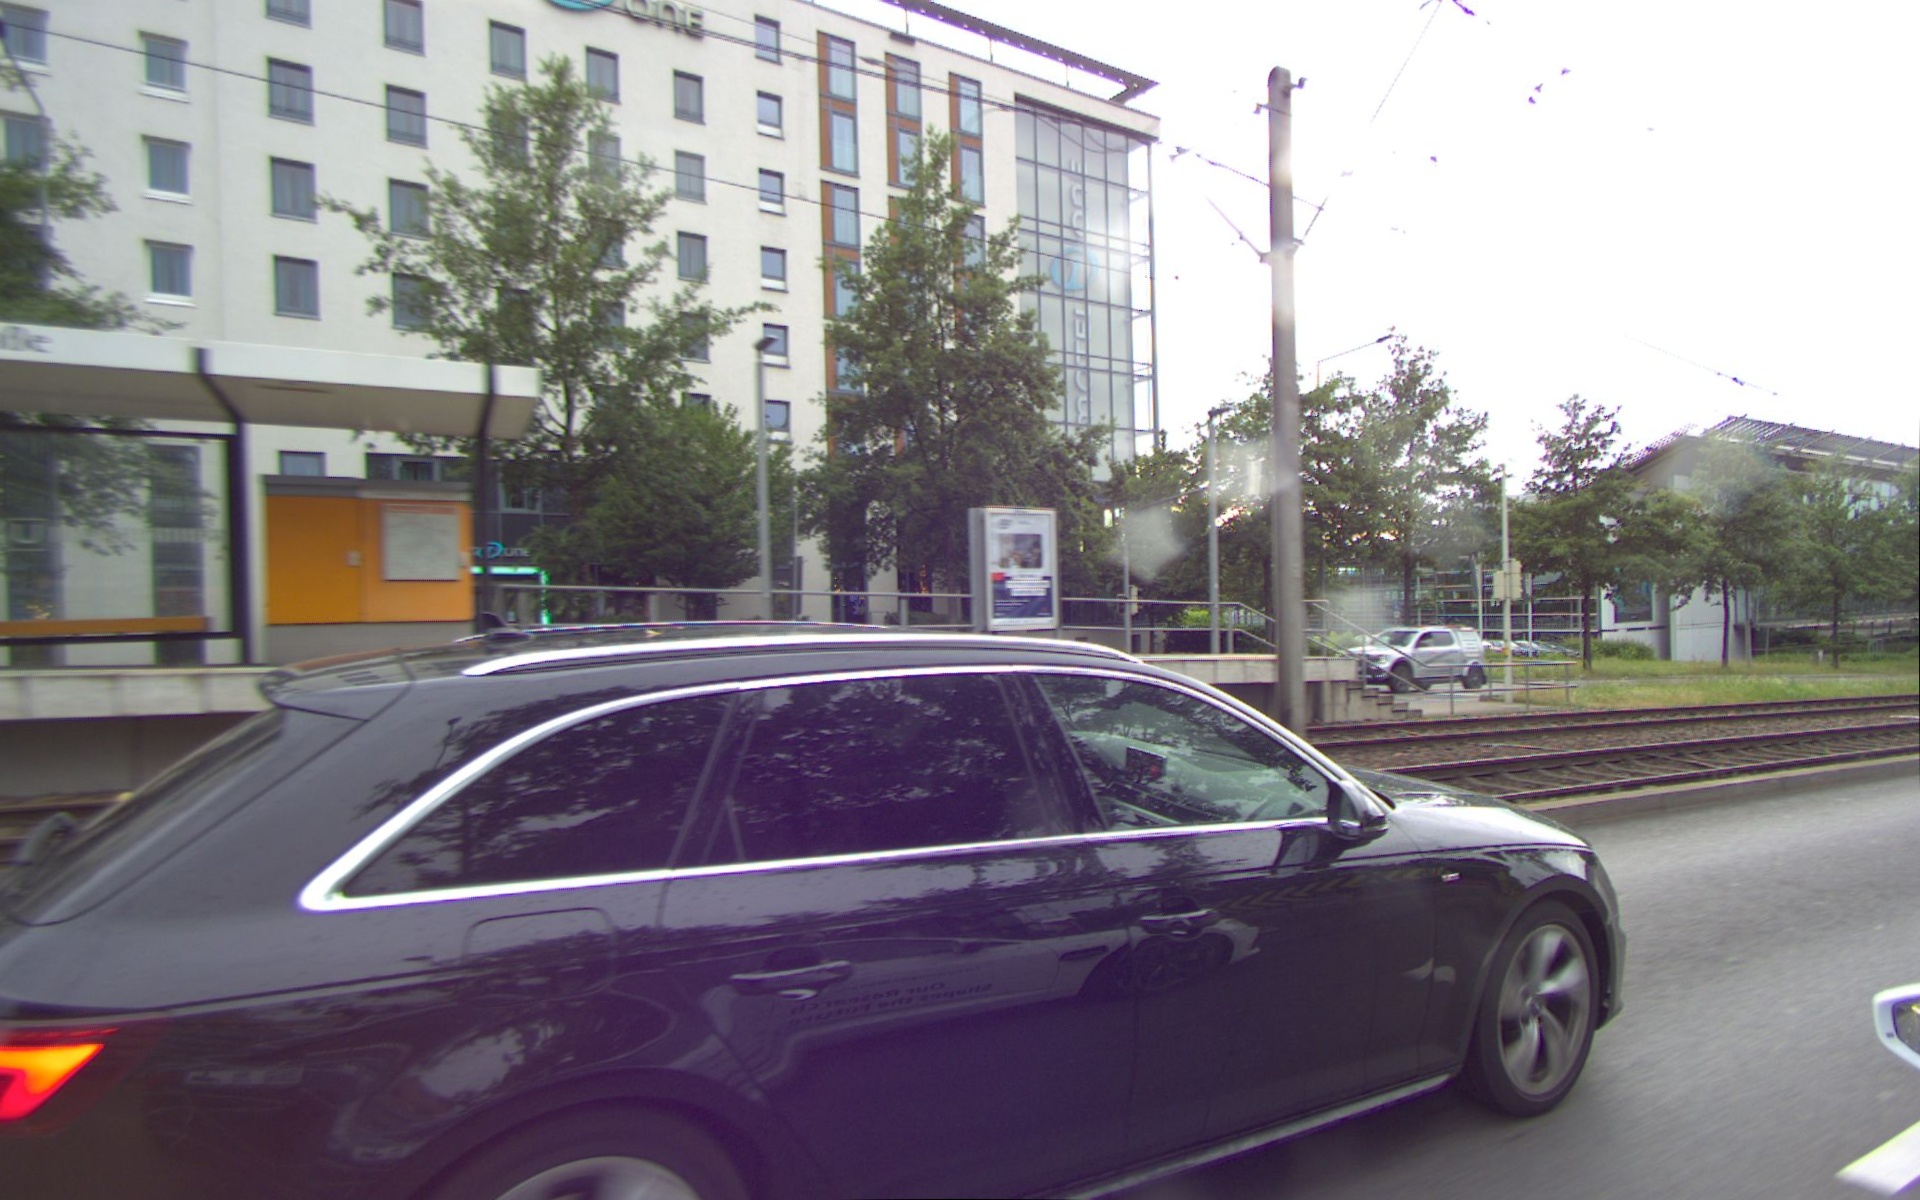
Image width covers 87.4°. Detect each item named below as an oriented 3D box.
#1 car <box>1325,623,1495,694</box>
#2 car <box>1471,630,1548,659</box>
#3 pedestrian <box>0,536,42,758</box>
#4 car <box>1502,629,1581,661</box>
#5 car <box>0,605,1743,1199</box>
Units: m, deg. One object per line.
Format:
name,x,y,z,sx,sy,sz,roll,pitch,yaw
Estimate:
car,12.996,1.643,28.910,4.943,1.871,1.984,1,-2,-31
car,34.766,2.808,63.663,1.617,1.639,4.038,2,0,-27
pedestrian,-9.607,0.413,9.385,1.255,2.040,1.121,2,0,-30
car,37.351,2.867,64.615,1.839,1.861,4.056,2,0,-27
car,0.108,0.780,2.965,4.770,1.453,1.782,1,-1,-29
